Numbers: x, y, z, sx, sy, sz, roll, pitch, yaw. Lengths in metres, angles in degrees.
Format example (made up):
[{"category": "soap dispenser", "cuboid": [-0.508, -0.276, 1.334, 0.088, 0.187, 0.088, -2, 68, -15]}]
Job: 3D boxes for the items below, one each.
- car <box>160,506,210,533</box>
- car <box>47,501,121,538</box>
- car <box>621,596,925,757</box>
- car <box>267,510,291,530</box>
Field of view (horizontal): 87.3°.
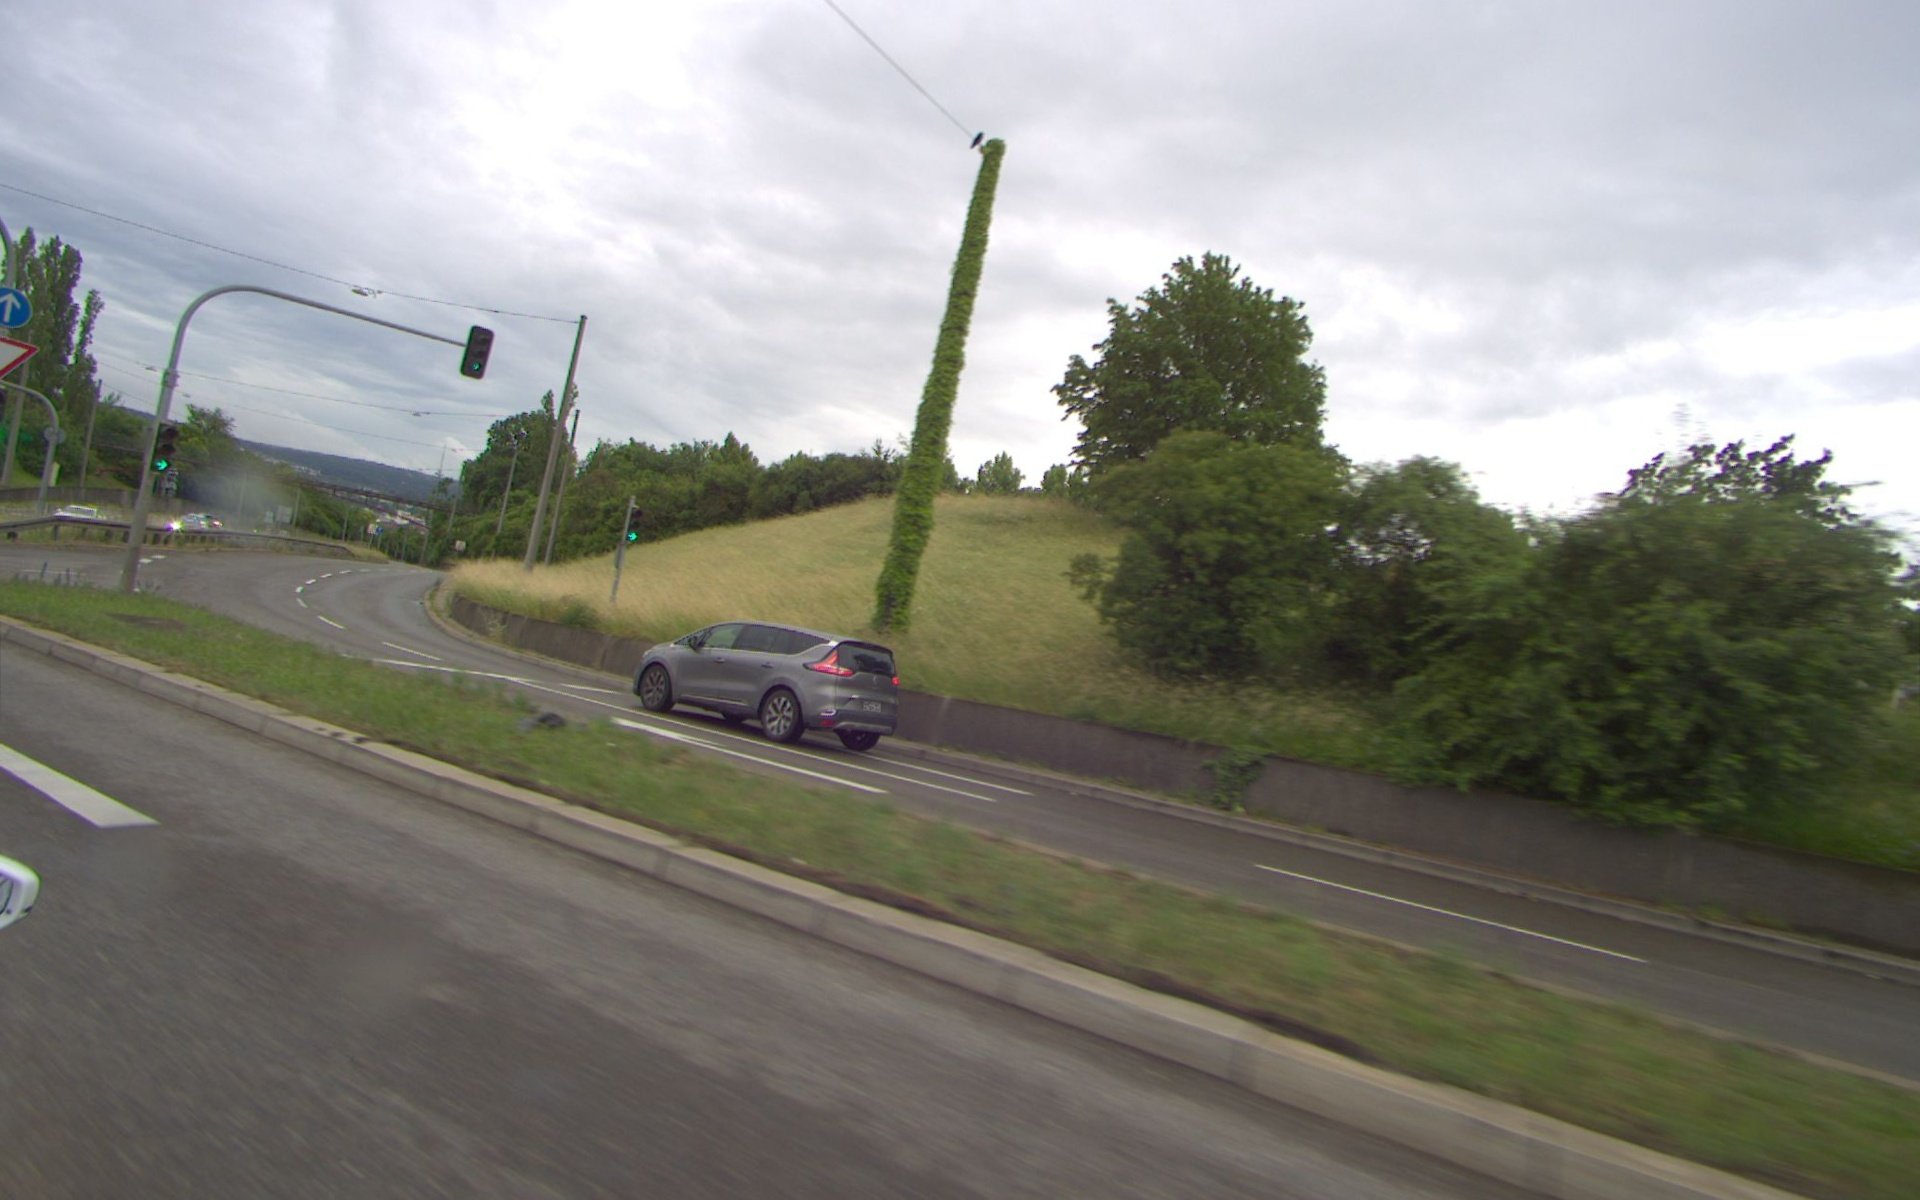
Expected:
[{"category": "car", "cuboid": [-62.459, -6.465, 81.152, 1.978, 1.635, 4.345, 12, -2, -24]}, {"category": "car", "cuboid": [-50.980, -4.667, 58.661, 1.978, 1.635, 3.975, 12, -2, -25]}, {"category": "car", "cuboid": [-2.945, 1.111, 15.348, 4.554, 1.665, 1.729, 7, -5, 37]}, {"category": "car", "cuboid": [-87.281, -10.293, 128.999, 2.063, 2.107, 4.333, 12, -1, -32]}]
